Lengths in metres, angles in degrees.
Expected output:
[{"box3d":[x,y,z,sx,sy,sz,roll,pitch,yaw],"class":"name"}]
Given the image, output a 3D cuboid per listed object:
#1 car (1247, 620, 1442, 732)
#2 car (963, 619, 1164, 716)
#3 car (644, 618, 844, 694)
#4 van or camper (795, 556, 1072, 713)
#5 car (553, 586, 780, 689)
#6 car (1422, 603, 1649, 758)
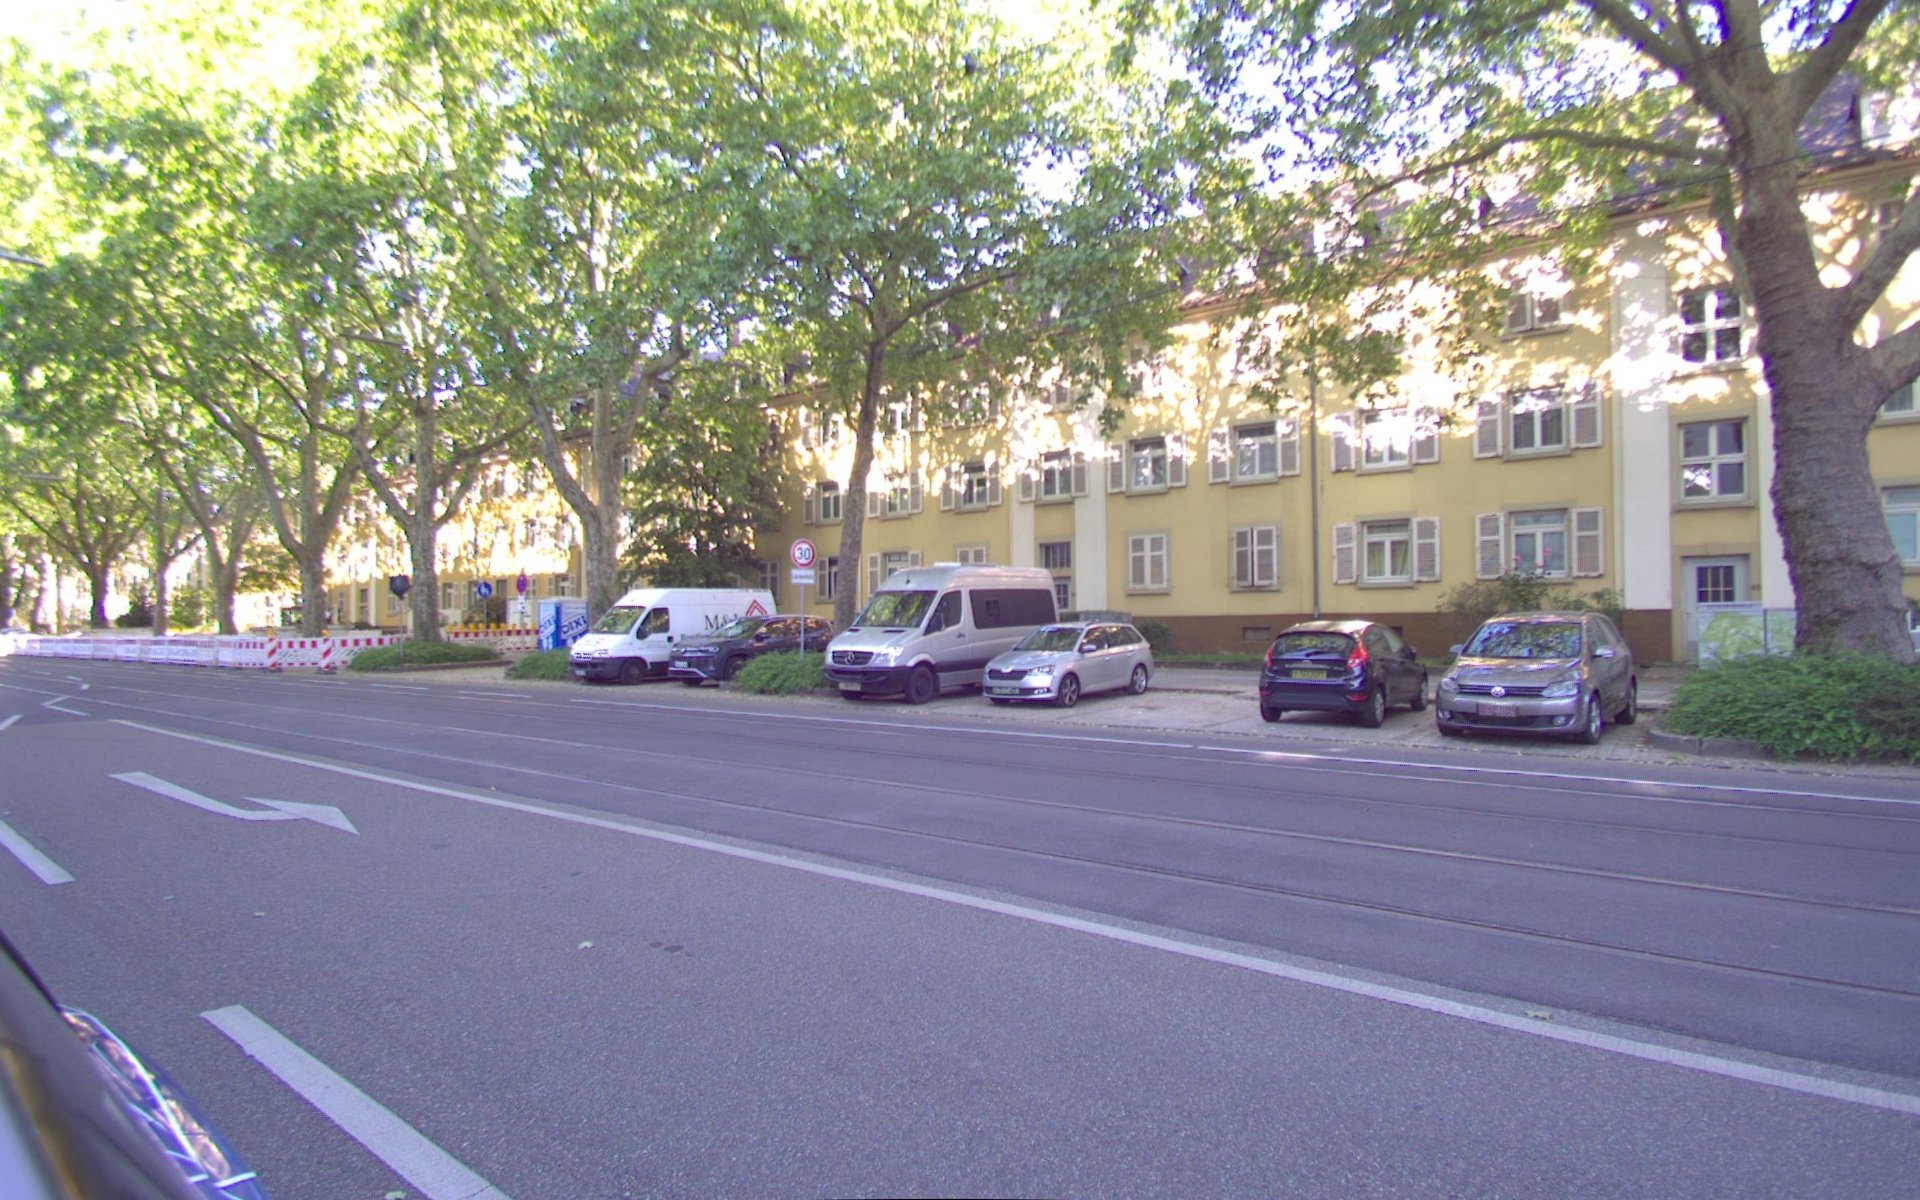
[{"box3d":[5.904,1.047,15.333,1.740,1.440,3.528,-2,-1,39],"class":"car"},{"box3d":[2.034,1.156,18.910,1.729,1.481,4.102,0,1,40],"class":"car"},{"box3d":[-5.093,1.272,24.372,1.967,1.643,4.520,-2,-2,38],"class":"car"},{"box3d":[-0.318,0.611,20.495,2.227,2.697,6.052,-2,-1,38],"class":"van or camper"},{"box3d":[-7.447,0.946,26.291,2.023,2.394,5.543,-2,-2,38],"class":"car"},{"box3d":[7.735,0.926,13.419,1.814,1.617,4.145,-2,0,41],"class":"car"}]
